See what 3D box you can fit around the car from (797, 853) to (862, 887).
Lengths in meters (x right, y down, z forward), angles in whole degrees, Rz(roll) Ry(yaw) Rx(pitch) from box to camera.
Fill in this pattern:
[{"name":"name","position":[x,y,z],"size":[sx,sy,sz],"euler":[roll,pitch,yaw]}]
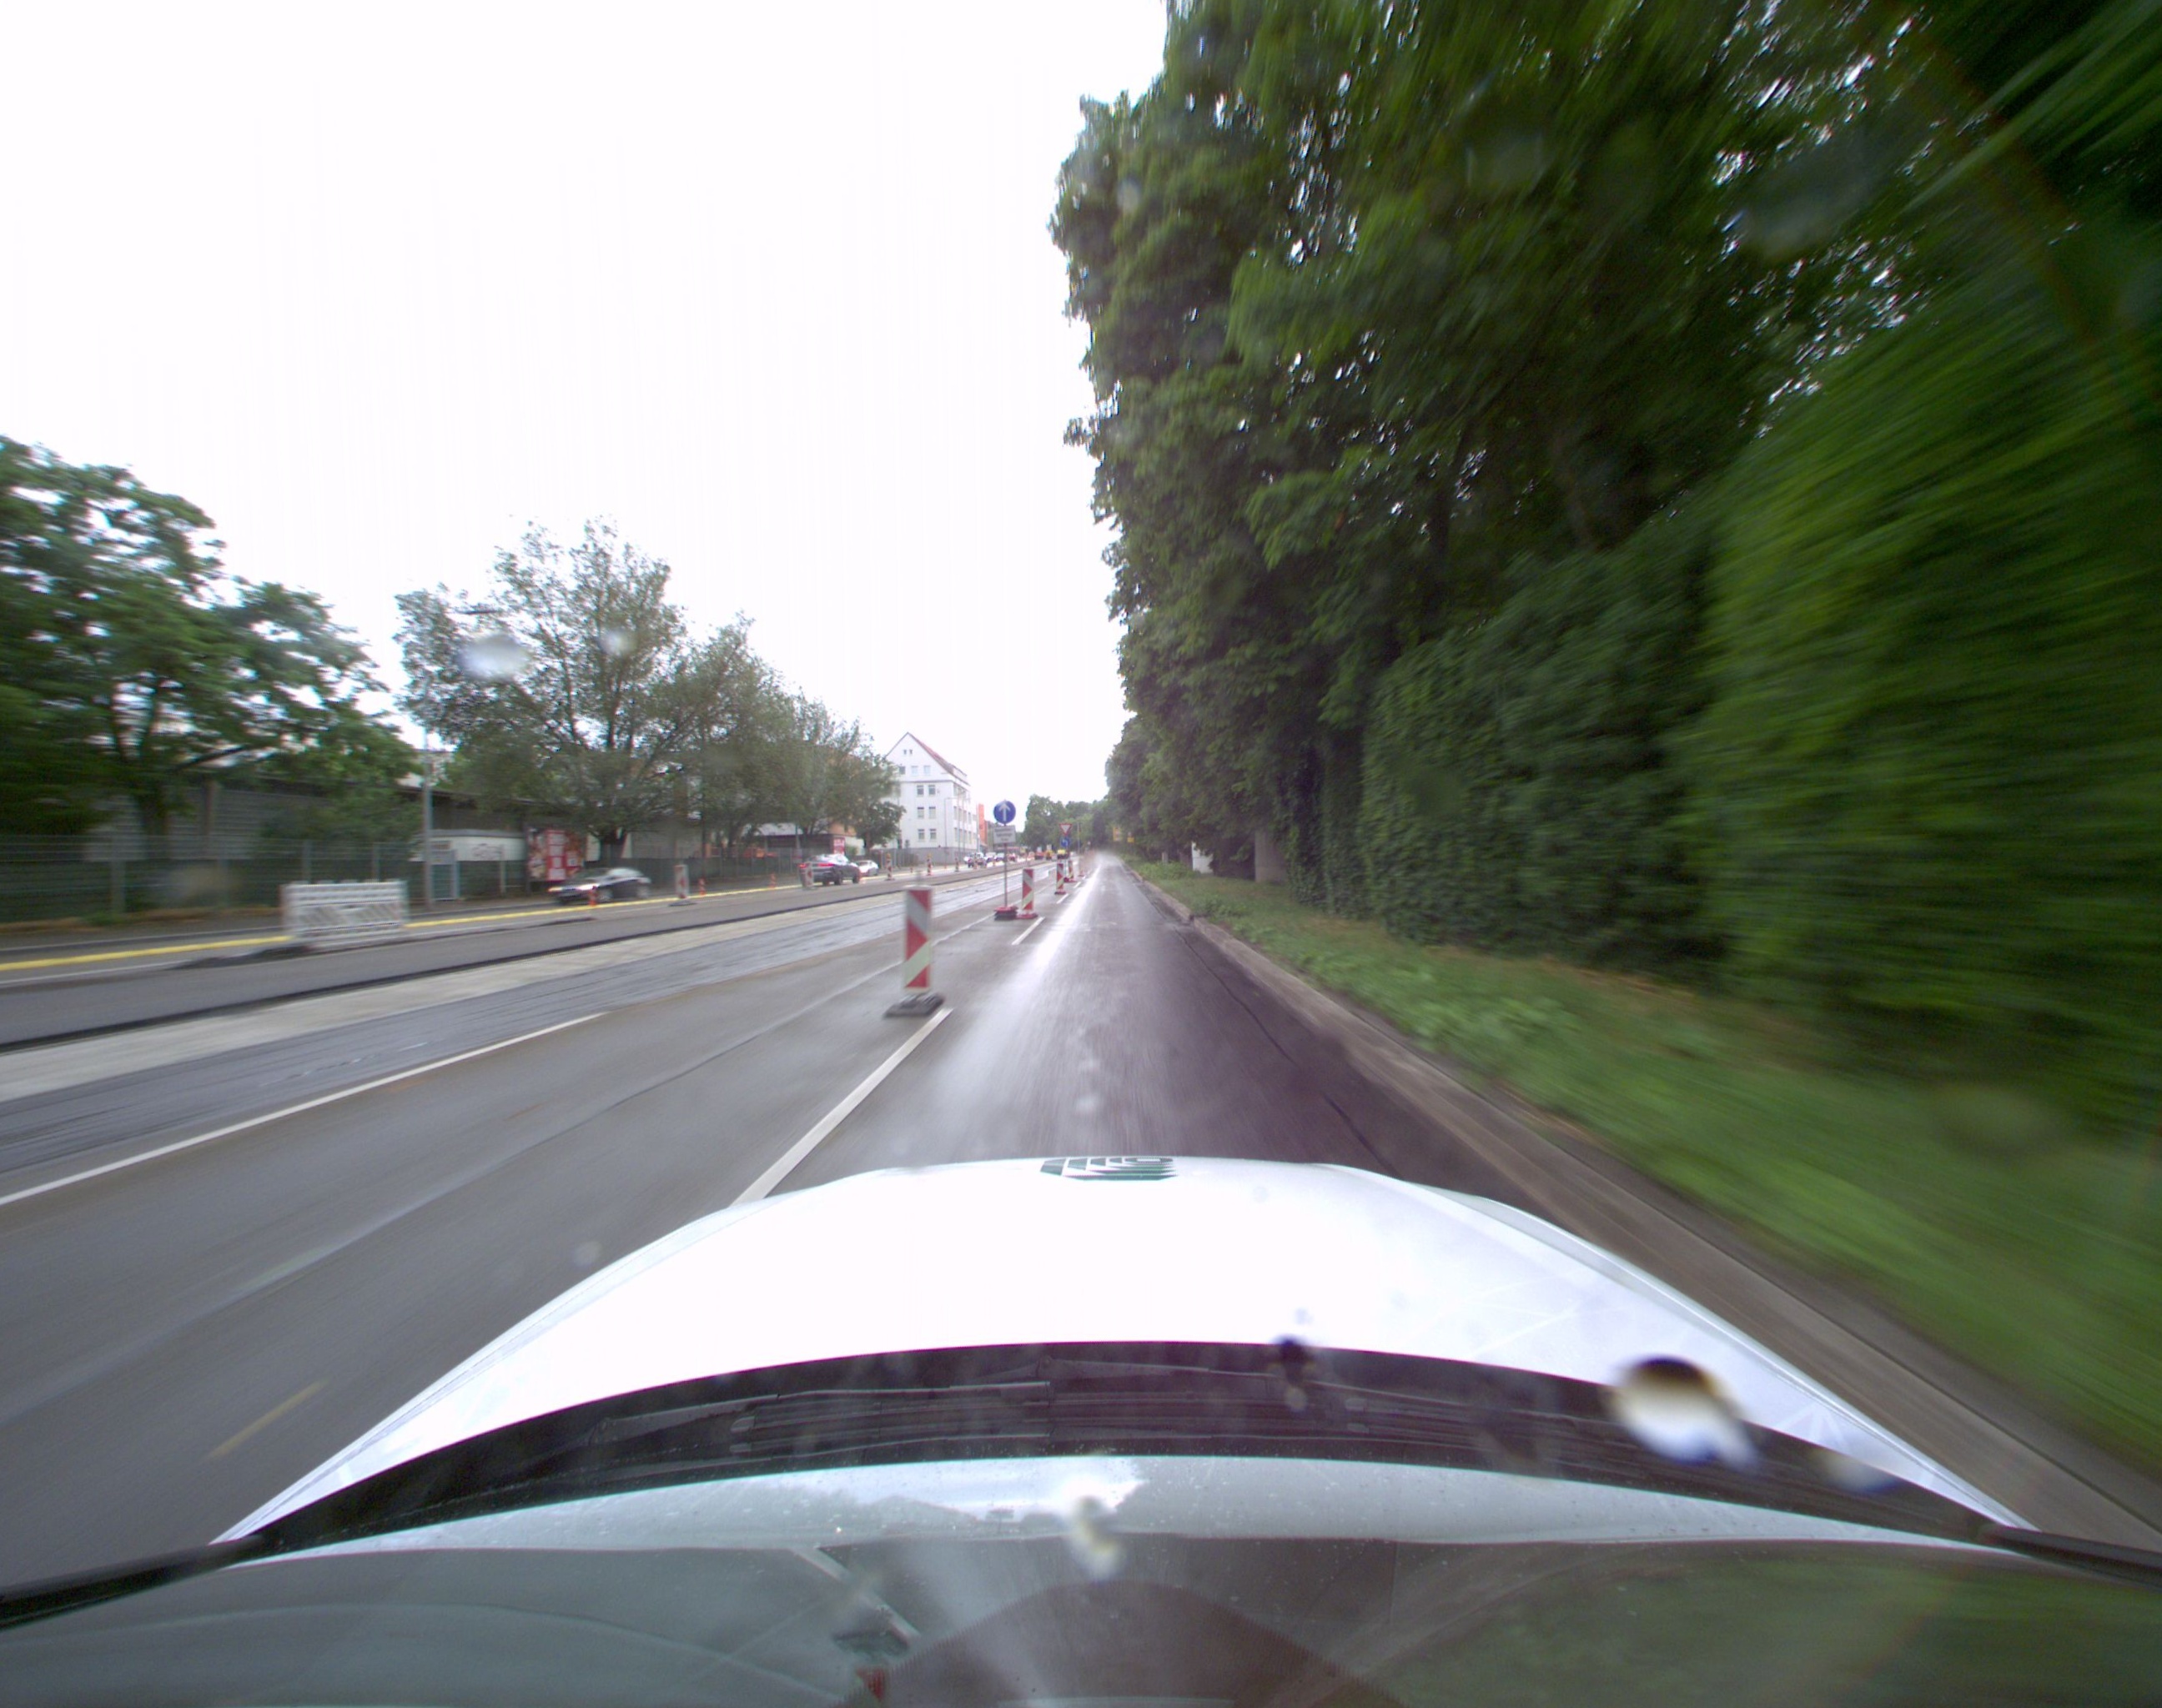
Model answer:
[{"name":"car","position":[-13.276,0.820,43.310],"size":[1.885,1.650,4.398],"euler":[-1,0,2]}]

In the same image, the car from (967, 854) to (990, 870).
[{"name":"car","position":[-11.620,0.890,92.808],"size":[1.885,1.650,4.398],"euler":[-1,0,2]}]

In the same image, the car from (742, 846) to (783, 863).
[{"name":"car","position":[-31.121,0.065,79.454],"size":[3.971,1.527,2.013],"euler":[-2,0,40]}]

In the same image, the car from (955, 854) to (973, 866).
[{"name":"car","position":[-18.683,0.974,130.096],"size":[1.852,1.706,4.367],"euler":[-4,0,2]}]

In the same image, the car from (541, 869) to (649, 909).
[{"name":"car","position":[-19.579,1.366,33.027],"size":[1.699,1.382,4.171],"euler":[-3,0,2]}]

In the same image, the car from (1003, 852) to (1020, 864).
[{"name":"car","position":[-10.653,0.610,125.163],"size":[1.885,1.650,4.398],"euler":[-1,0,2]}]

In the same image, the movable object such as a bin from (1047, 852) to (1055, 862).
[{"name":"movable object such as a bin","position":[-5.095,0.439,137.447],"size":[1.079,1.644,2.439],"euler":[-2,0,1]}]

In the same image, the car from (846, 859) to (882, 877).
[{"name":"car","position":[-18.410,1.187,69.250],"size":[1.660,1.315,4.458],"euler":[-4,0,2]}]

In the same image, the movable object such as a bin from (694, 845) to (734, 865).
[{"name":"movable object such as a bin","position":[-31.388,0.094,69.542],"size":[3.973,1.527,1.764],"euler":[-1,0,45]}]

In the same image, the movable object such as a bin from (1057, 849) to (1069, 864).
[{"name":"movable object such as a bin","position":[-3.192,0.381,145.920],"size":[1.895,2.609,5.385],"euler":[-2,0,1]}]
